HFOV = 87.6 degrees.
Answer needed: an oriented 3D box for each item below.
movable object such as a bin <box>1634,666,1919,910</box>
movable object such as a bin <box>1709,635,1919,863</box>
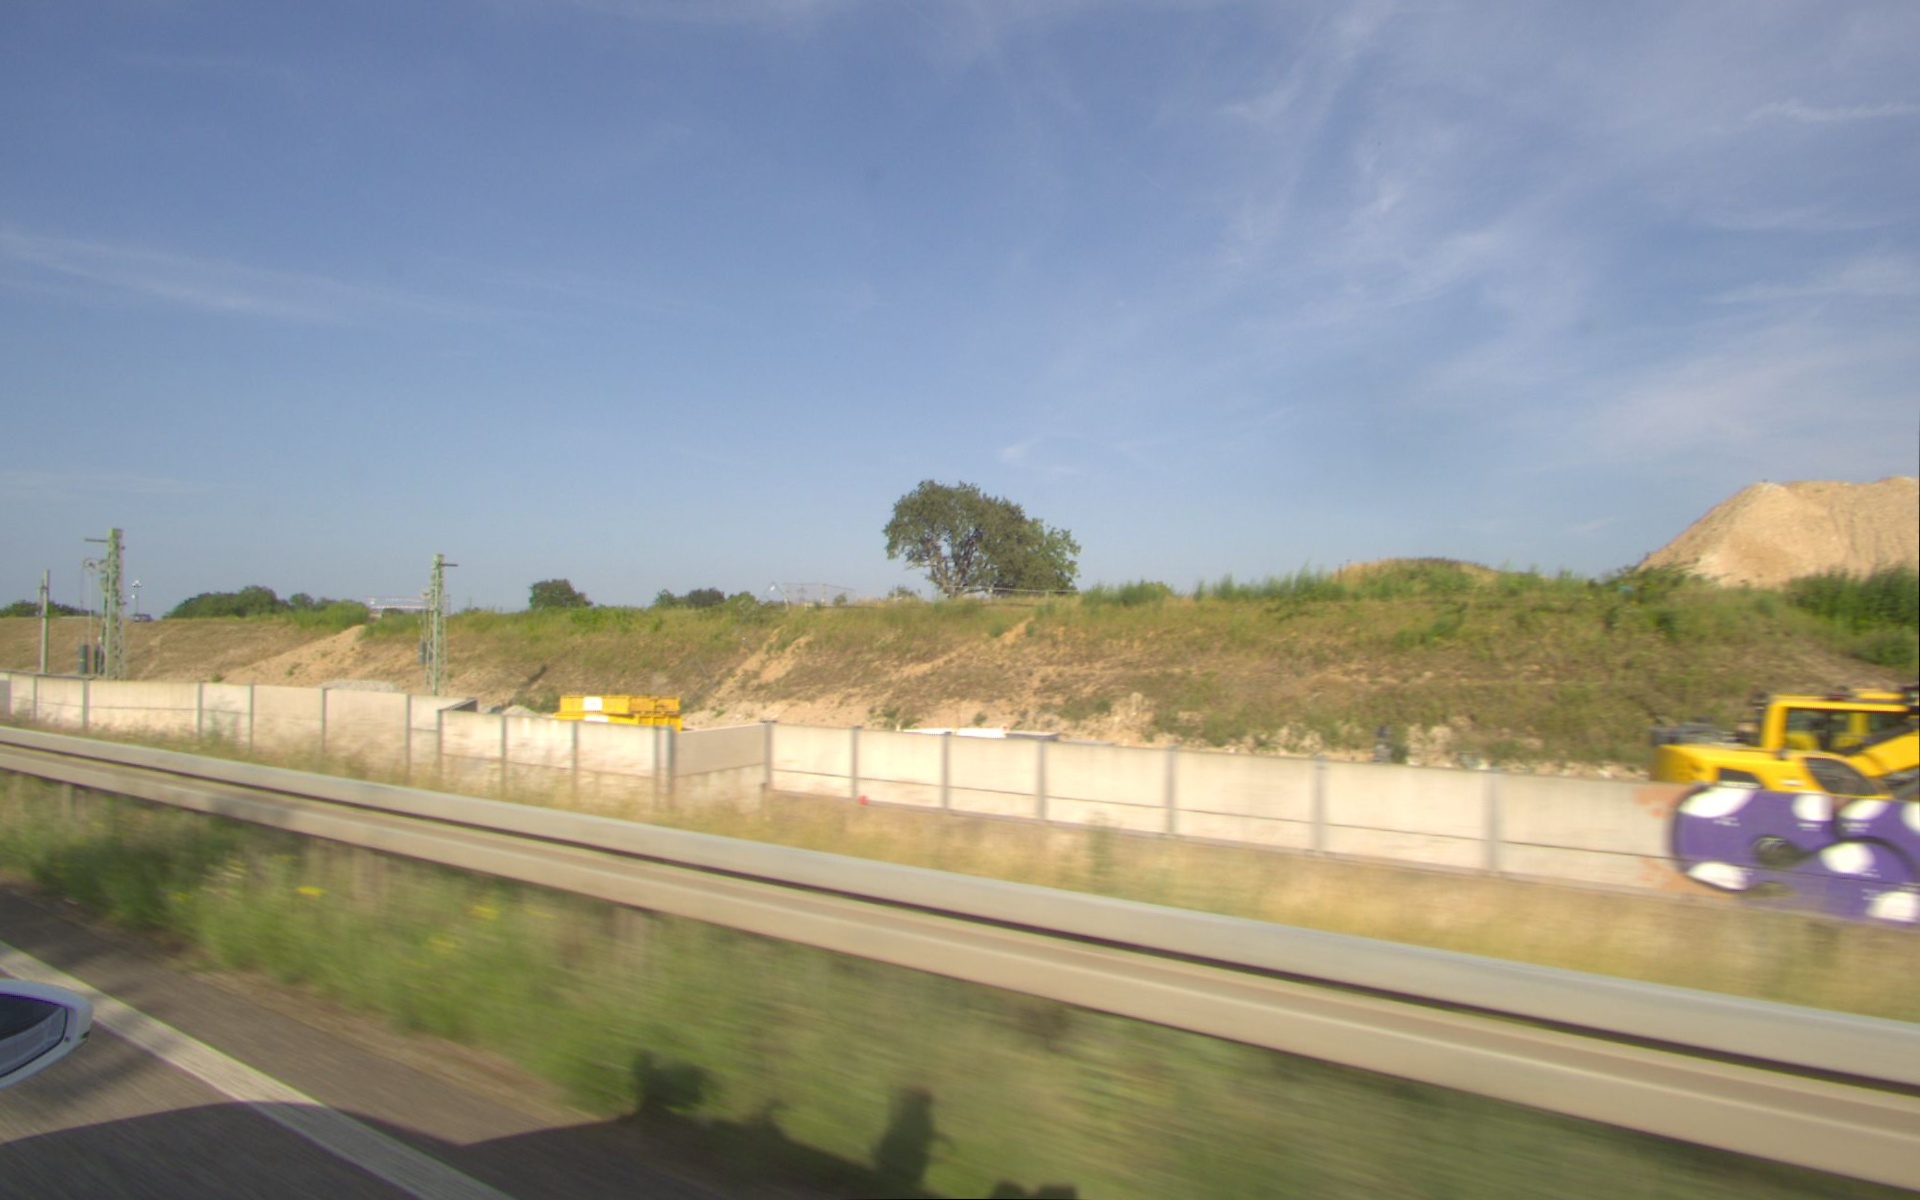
[{"bbox_3d":[14.922,2.779,14.935,7.957,3.281,2.617,0,-1,32],"label":"movable object such as a bin"},{"bbox_3d":[18.312,2.646,18.073,7.430,3.936,2.792,0,-1,32],"label":"movable object such as a bin"}]
